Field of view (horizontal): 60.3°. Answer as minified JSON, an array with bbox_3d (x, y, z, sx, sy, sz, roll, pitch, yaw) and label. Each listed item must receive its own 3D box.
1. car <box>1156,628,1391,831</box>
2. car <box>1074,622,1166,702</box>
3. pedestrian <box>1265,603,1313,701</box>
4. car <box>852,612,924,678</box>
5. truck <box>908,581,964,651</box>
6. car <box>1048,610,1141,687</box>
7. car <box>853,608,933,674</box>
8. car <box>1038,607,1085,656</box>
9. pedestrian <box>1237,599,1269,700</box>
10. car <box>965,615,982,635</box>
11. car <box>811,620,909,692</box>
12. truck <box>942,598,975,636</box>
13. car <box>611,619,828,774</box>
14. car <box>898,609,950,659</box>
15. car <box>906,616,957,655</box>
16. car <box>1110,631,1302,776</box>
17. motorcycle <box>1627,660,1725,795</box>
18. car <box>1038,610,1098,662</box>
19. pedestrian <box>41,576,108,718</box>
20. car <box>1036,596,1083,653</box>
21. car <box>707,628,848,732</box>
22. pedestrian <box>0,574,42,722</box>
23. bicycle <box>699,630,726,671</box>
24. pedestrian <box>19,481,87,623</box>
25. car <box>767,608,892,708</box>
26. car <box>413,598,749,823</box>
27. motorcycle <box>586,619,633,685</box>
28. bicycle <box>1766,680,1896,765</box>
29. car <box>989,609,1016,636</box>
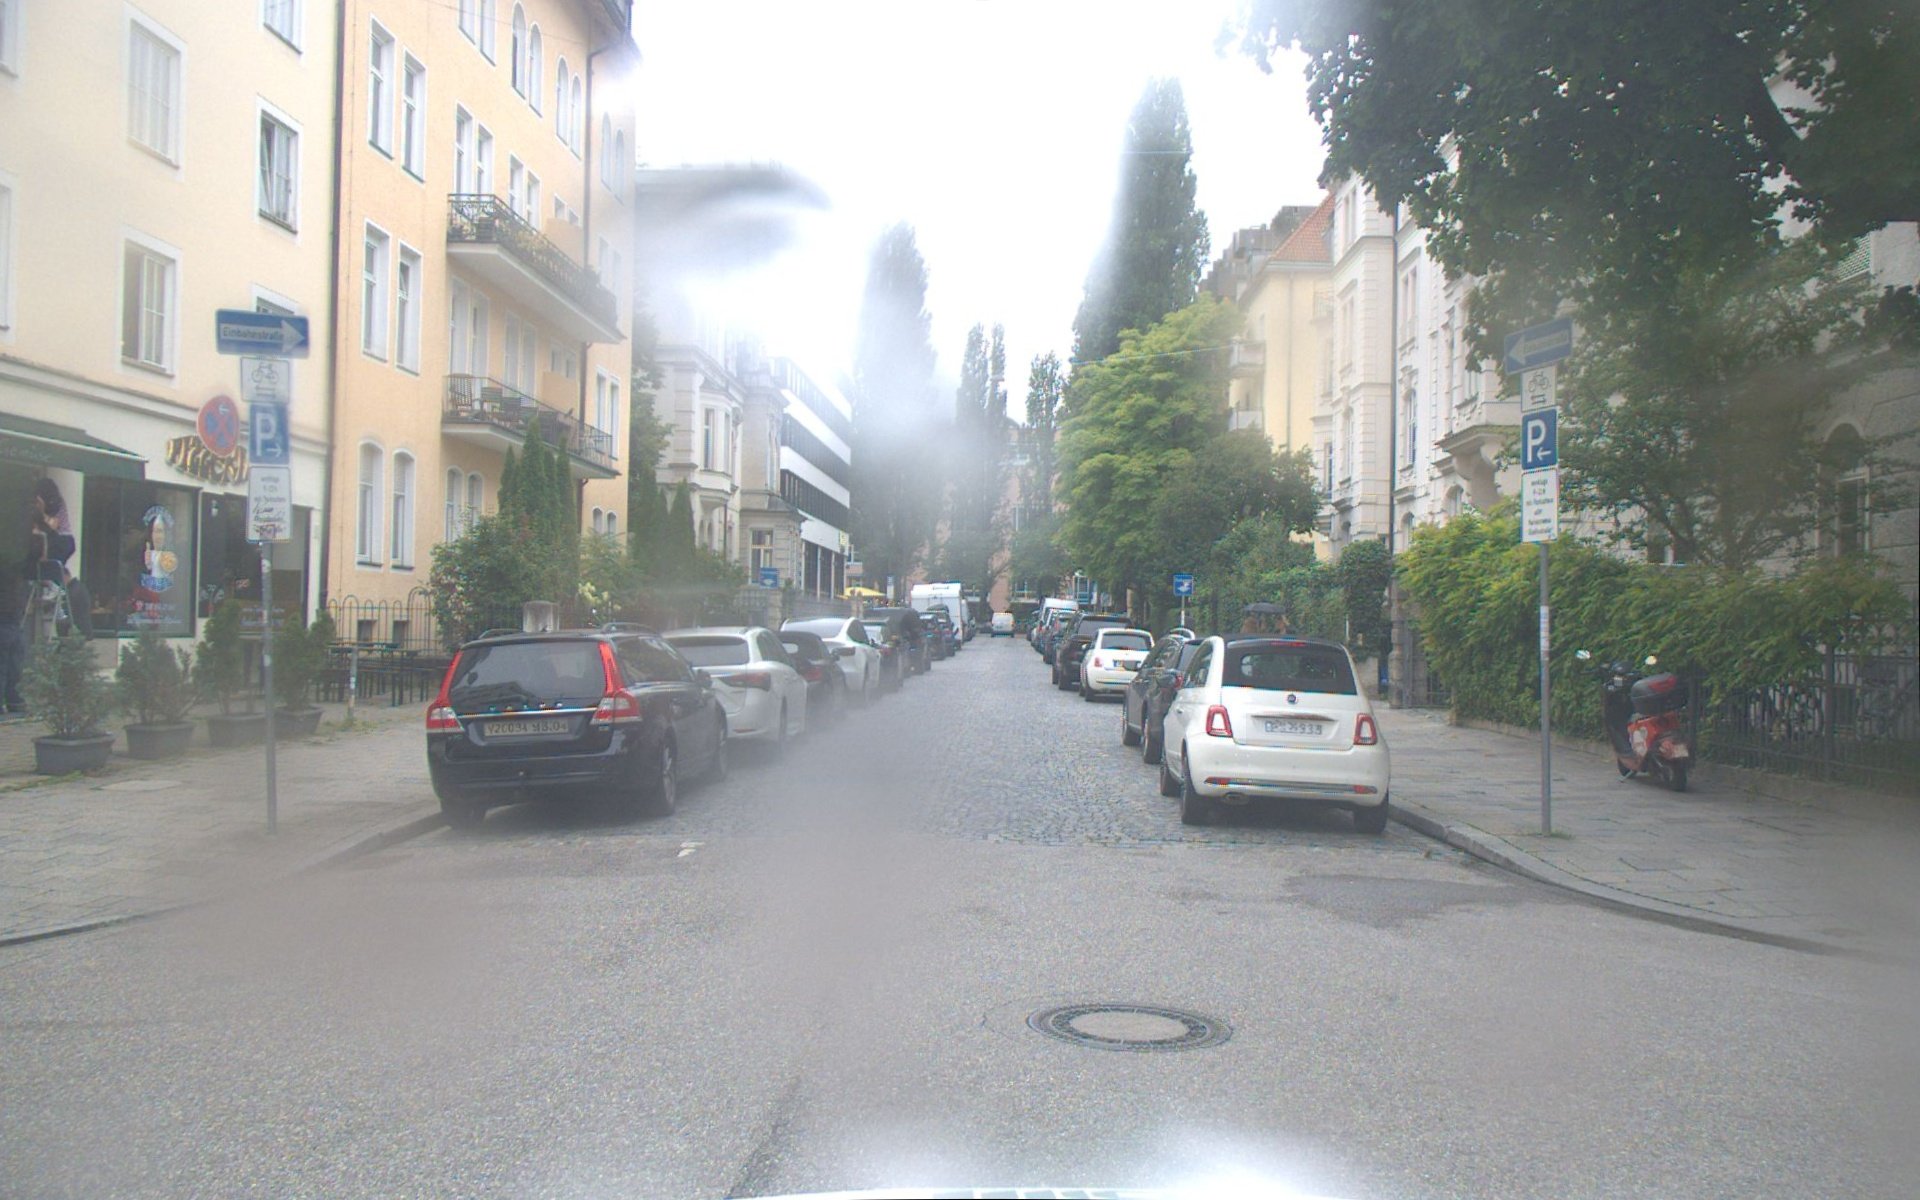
[{"bbox_3d":[2.571,1.002,14.266,1.470,1.497,3.796,1,-1,3],"label":"car"},{"bbox_3d":[3.304,1.261,34.628,1.596,1.495,3.659,3,-1,2],"label":"car"},{"bbox_3d":[6.238,0.979,31.414,0.619,1.840,0.656,2,-1,-21],"label":"pedestrian"},{"bbox_3d":[-1.851,1.172,43.298,1.547,1.618,4.056,-1,-1,2],"label":"car"},{"bbox_3d":[-1.070,0.741,77.983,2.456,3.085,6.384,-1,0,1],"label":"truck"},{"bbox_3d":[3.191,1.149,40.109,1.836,1.702,5.490,1,-1,1],"label":"car"},{"bbox_3d":[-1.894,1.144,48.130,1.941,1.768,4.723,1,0,2],"label":"car"},{"bbox_3d":[4.466,1.396,73.420,1.763,1.983,4.860,4,-1,1],"label":"car"},{"bbox_3d":[5.512,0.925,31.111,0.563,1.882,0.682,1,-1,9],"label":"pedestrian"},{"bbox_3d":[1.080,2.025,132.589,1.250,1.568,3.119,1,-1,2],"label":"car"},{"bbox_3d":[-2.149,1.208,36.566,1.737,1.454,4.391,1,-1,2],"label":"car"},{"bbox_3d":[-0.085,1.119,106.602,1.952,2.388,4.068,1,-1,2],"label":"truck"},{"bbox_3d":[-2.678,1.027,19.449,1.737,1.563,4.541,-2,-1,2],"label":"car"},{"bbox_3d":[-1.313,1.253,61.345,1.737,1.748,4.391,1,-1,1],"label":"car"},{"bbox_3d":[-1.123,1.415,66.573,1.900,1.485,4.058,1,-1,1],"label":"car"},{"bbox_3d":[2.885,1.166,20.277,1.614,1.446,4.632,4,-1,1],"label":"car"},{"bbox_3d":[6.367,1.110,14.755,0.354,1.109,1.404,1,-1,4],"label":"motorcycle"},{"bbox_3d":[3.908,1.314,60.483,1.922,1.790,4.954,1,-1,1],"label":"car"},{"bbox_3d":[-10.955,0.574,20.477,0.452,1.720,0.574,1,-1,2],"label":"pedestrian"},{"bbox_3d":[4.717,1.123,79.139,1.856,2.468,5.611,5,0,1],"label":"car"},{"bbox_3d":[-2.635,1.128,24.734,1.738,1.383,4.389,1,-1,-2],"label":"car"},{"bbox_3d":[-11.045,0.542,19.070,0.511,1.671,0.630,1,-1,1],"label":"pedestrian"},{"bbox_3d":[-6.324,1.285,42.336,0.344,1.020,1.573,1,-1,3],"label":"bicycle"},{"bbox_3d":[-10.876,-0.564,19.846,0.467,1.671,0.497,1,-1,6],"label":"pedestrian"},{"bbox_3d":[-2.345,1.041,30.725,1.737,1.676,4.392,1,-1,3],"label":"car"},{"bbox_3d":[-3.088,0.856,14.542,1.814,1.614,4.747,1,-1,0],"label":"car"},{"bbox_3d":[-6.567,0.960,31.039,0.481,1.215,1.579,1,-1,1],"label":"motorcycle"},{"bbox_3d":[9.848,1.360,18.785,0.481,0.826,2.275,1,-1,6],"label":"bicycle"},{"bbox_3d":[3.263,1.729,126.177,1.955,1.970,4.001,1,-1,3],"label":"car"}]
